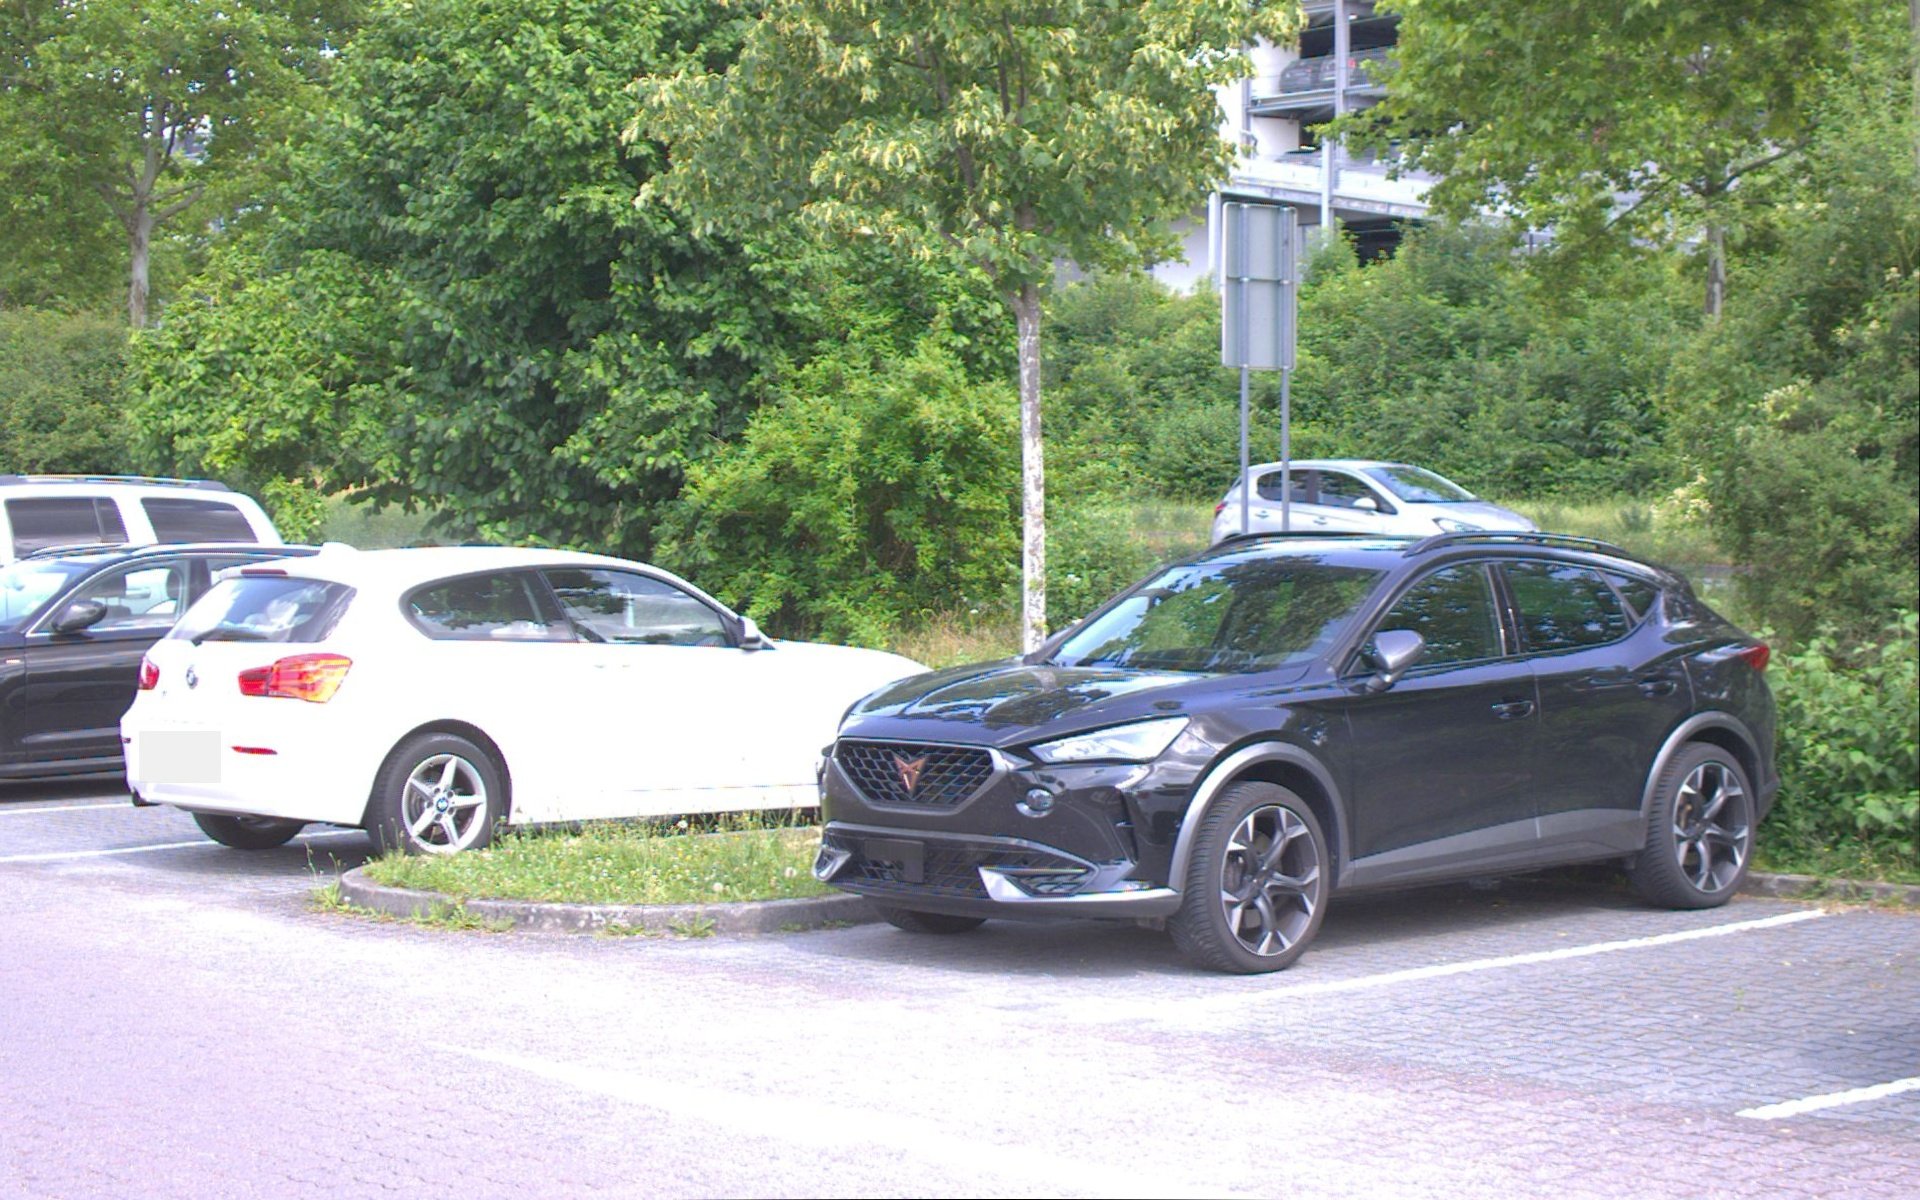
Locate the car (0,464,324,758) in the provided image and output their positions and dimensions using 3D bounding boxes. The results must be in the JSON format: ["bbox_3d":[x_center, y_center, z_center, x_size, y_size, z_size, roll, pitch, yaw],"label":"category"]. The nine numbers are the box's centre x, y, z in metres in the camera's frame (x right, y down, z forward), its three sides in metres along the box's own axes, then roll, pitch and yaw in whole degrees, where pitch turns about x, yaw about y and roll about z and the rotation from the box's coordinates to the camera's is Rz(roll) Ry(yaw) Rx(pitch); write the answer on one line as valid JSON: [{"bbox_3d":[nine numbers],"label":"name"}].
[{"bbox_3d":[-6.809,0.055,22.013,5.134,1.836,1.989,-2,3,-45],"label":"car"}]

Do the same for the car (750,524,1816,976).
[{"bbox_3d":[1.374,0.443,13.236,4.231,1.405,1.732,-2,3,-43],"label":"car"}]

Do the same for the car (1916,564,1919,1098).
[{"bbox_3d":[4.418,0.582,9.497,3.547,1.406,1.670,-2,2,-39],"label":"car"}]

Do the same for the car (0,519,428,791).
[{"bbox_3d":[-5.553,0.290,19.699,4.712,1.446,1.839,-2,3,-42],"label":"car"}]

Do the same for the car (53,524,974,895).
[{"bbox_3d":[-2.036,0.426,16.383,4.070,1.504,1.690,-2,2,-41],"label":"car"}]

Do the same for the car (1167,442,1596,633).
[{"bbox_3d":[4.661,-0.663,38.433,4.493,2.007,1.913,0,-1,44],"label":"car"}]
